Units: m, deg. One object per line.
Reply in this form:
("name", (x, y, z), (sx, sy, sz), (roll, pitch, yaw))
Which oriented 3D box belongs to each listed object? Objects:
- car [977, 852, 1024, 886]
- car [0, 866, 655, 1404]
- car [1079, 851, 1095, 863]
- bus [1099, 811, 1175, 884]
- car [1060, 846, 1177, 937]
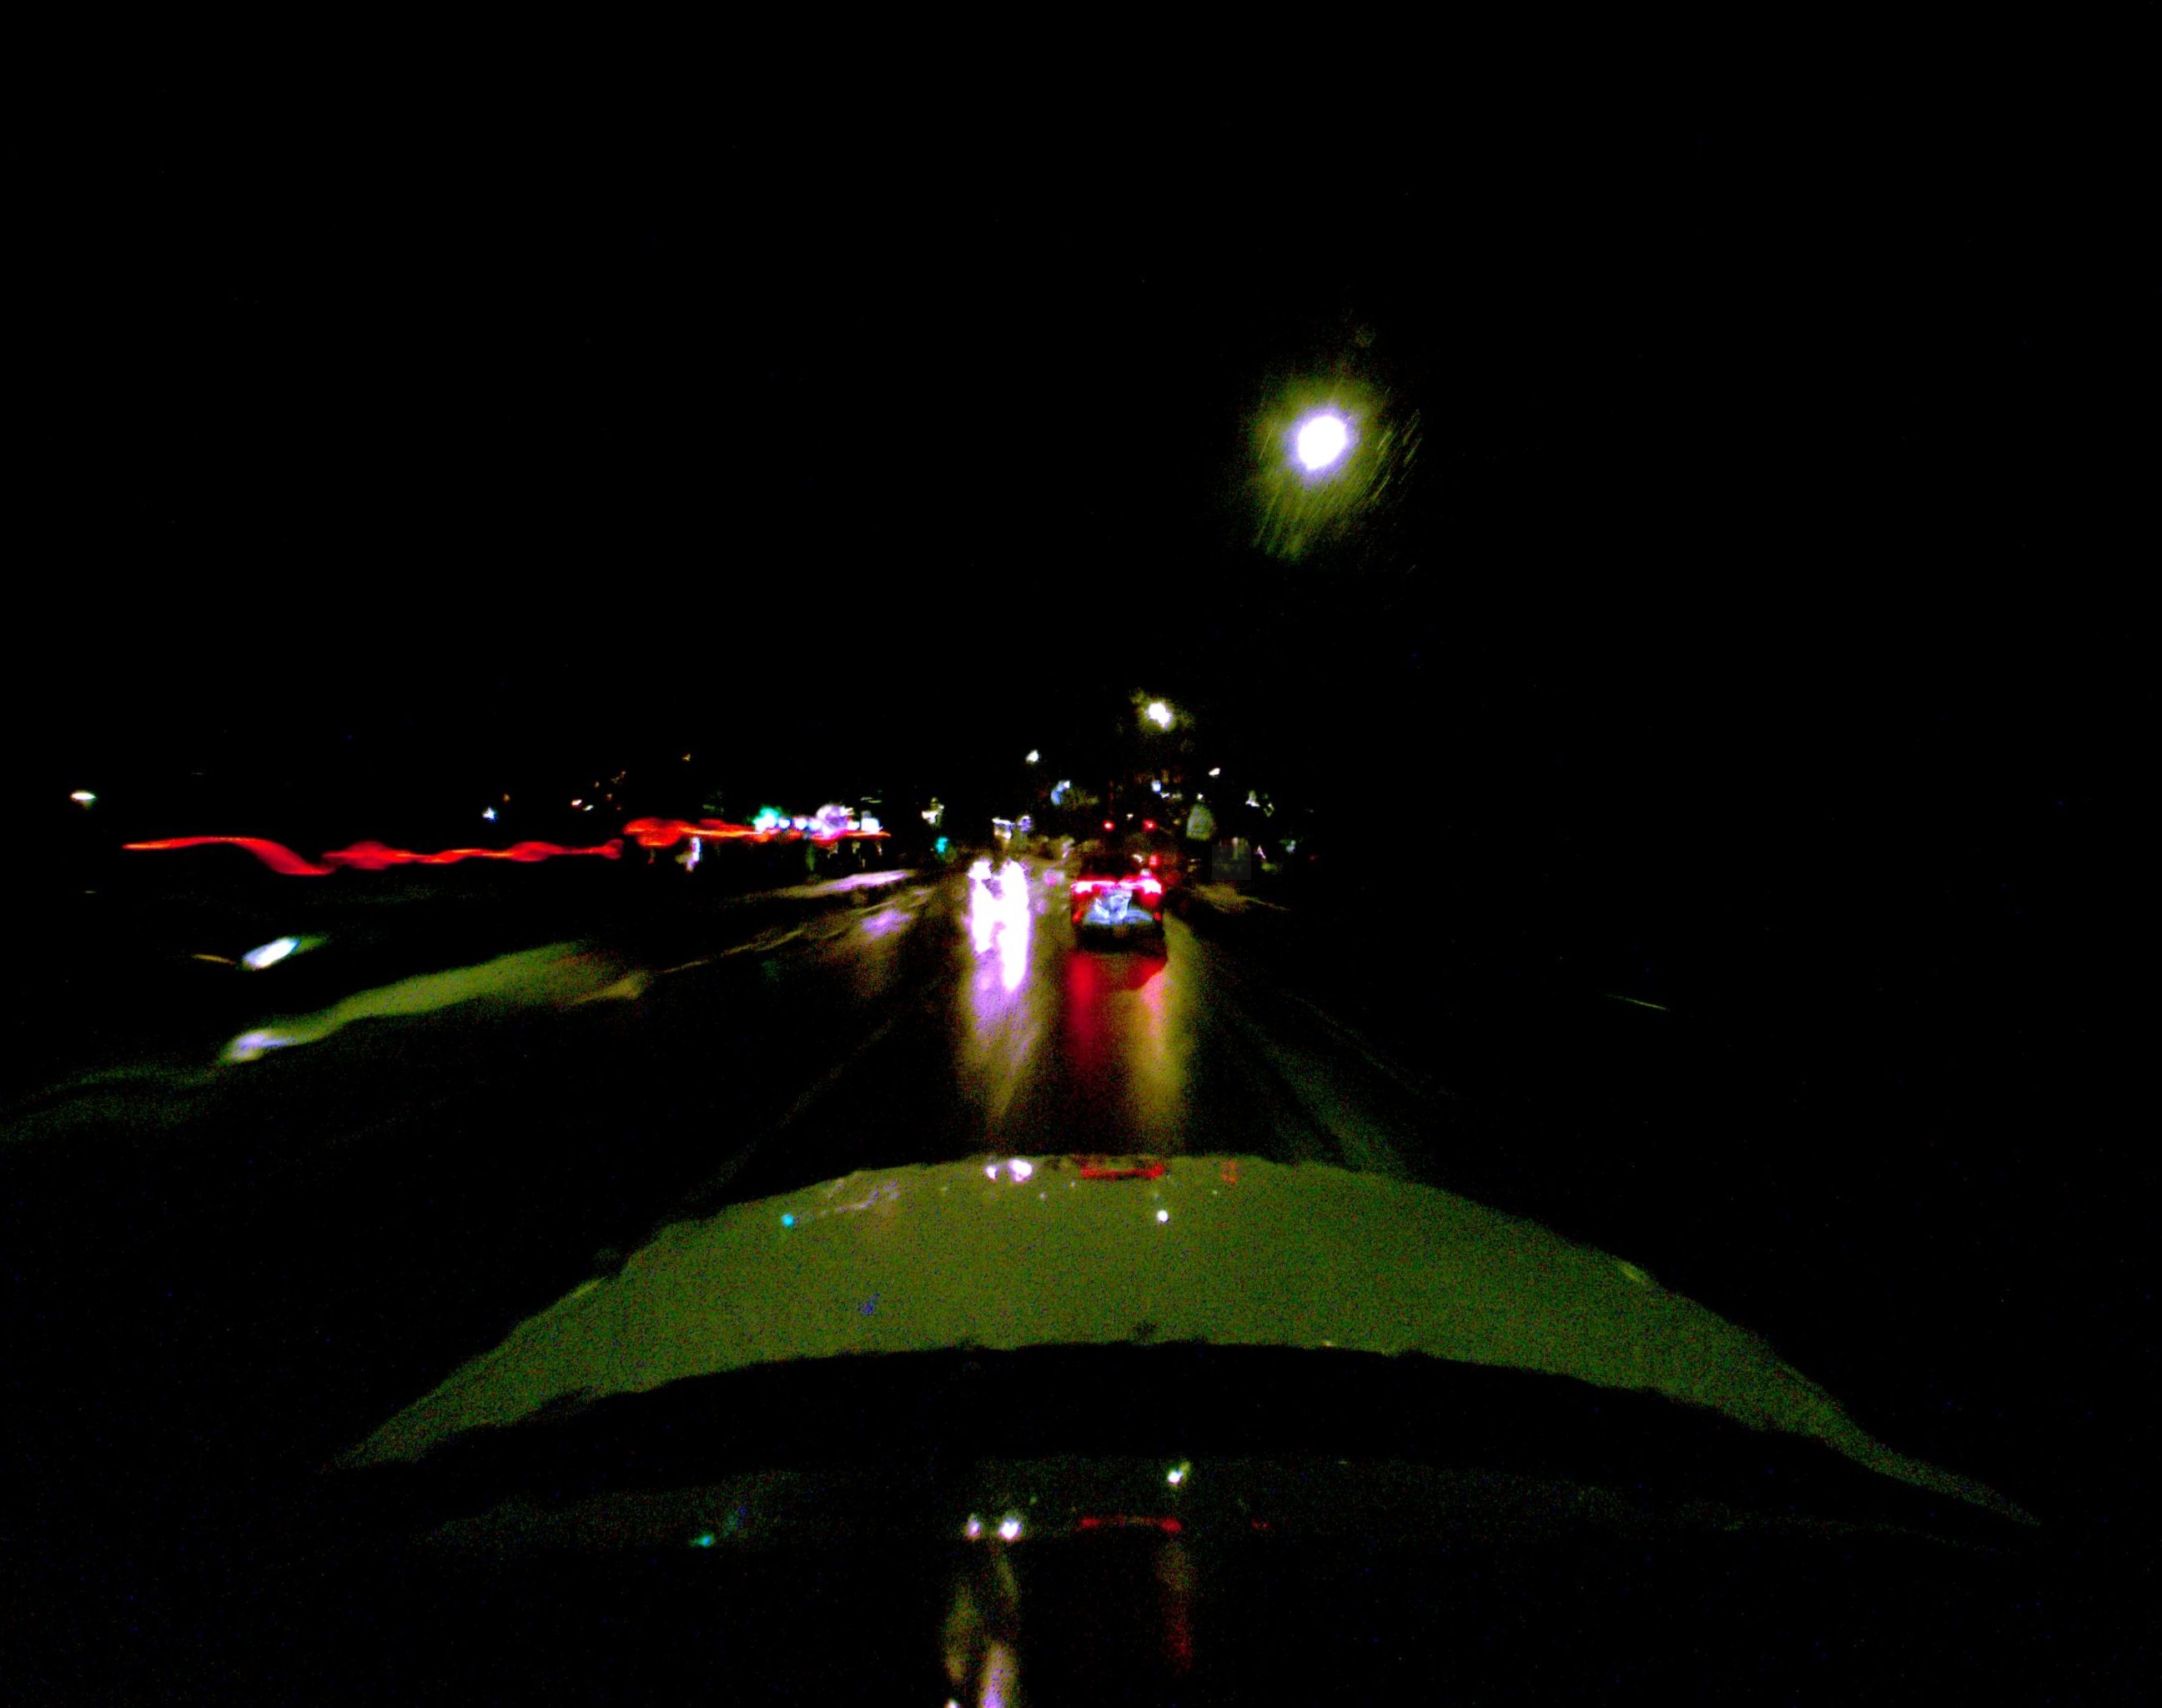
("car", (-3.603, 0.640, 37.079), (1.819, 1.403, 4.034), (1, 1, -1))
("car", (-3.923, 0.812, 3.730), (1.755, 1.431, 4.325), (0, 0, -2))
("car", (0.797, 0.418, 106.302), (1.819, 1.503, 4.190), (1, 0, 2))
("bus", (3.019, -0.326, 41.100), (3.026, 3.212, 9.072), (-1, 0, 8))
("car", (0.796, 0.620, 15.842), (1.984, 1.524, 4.006), (0, 1, 5))
